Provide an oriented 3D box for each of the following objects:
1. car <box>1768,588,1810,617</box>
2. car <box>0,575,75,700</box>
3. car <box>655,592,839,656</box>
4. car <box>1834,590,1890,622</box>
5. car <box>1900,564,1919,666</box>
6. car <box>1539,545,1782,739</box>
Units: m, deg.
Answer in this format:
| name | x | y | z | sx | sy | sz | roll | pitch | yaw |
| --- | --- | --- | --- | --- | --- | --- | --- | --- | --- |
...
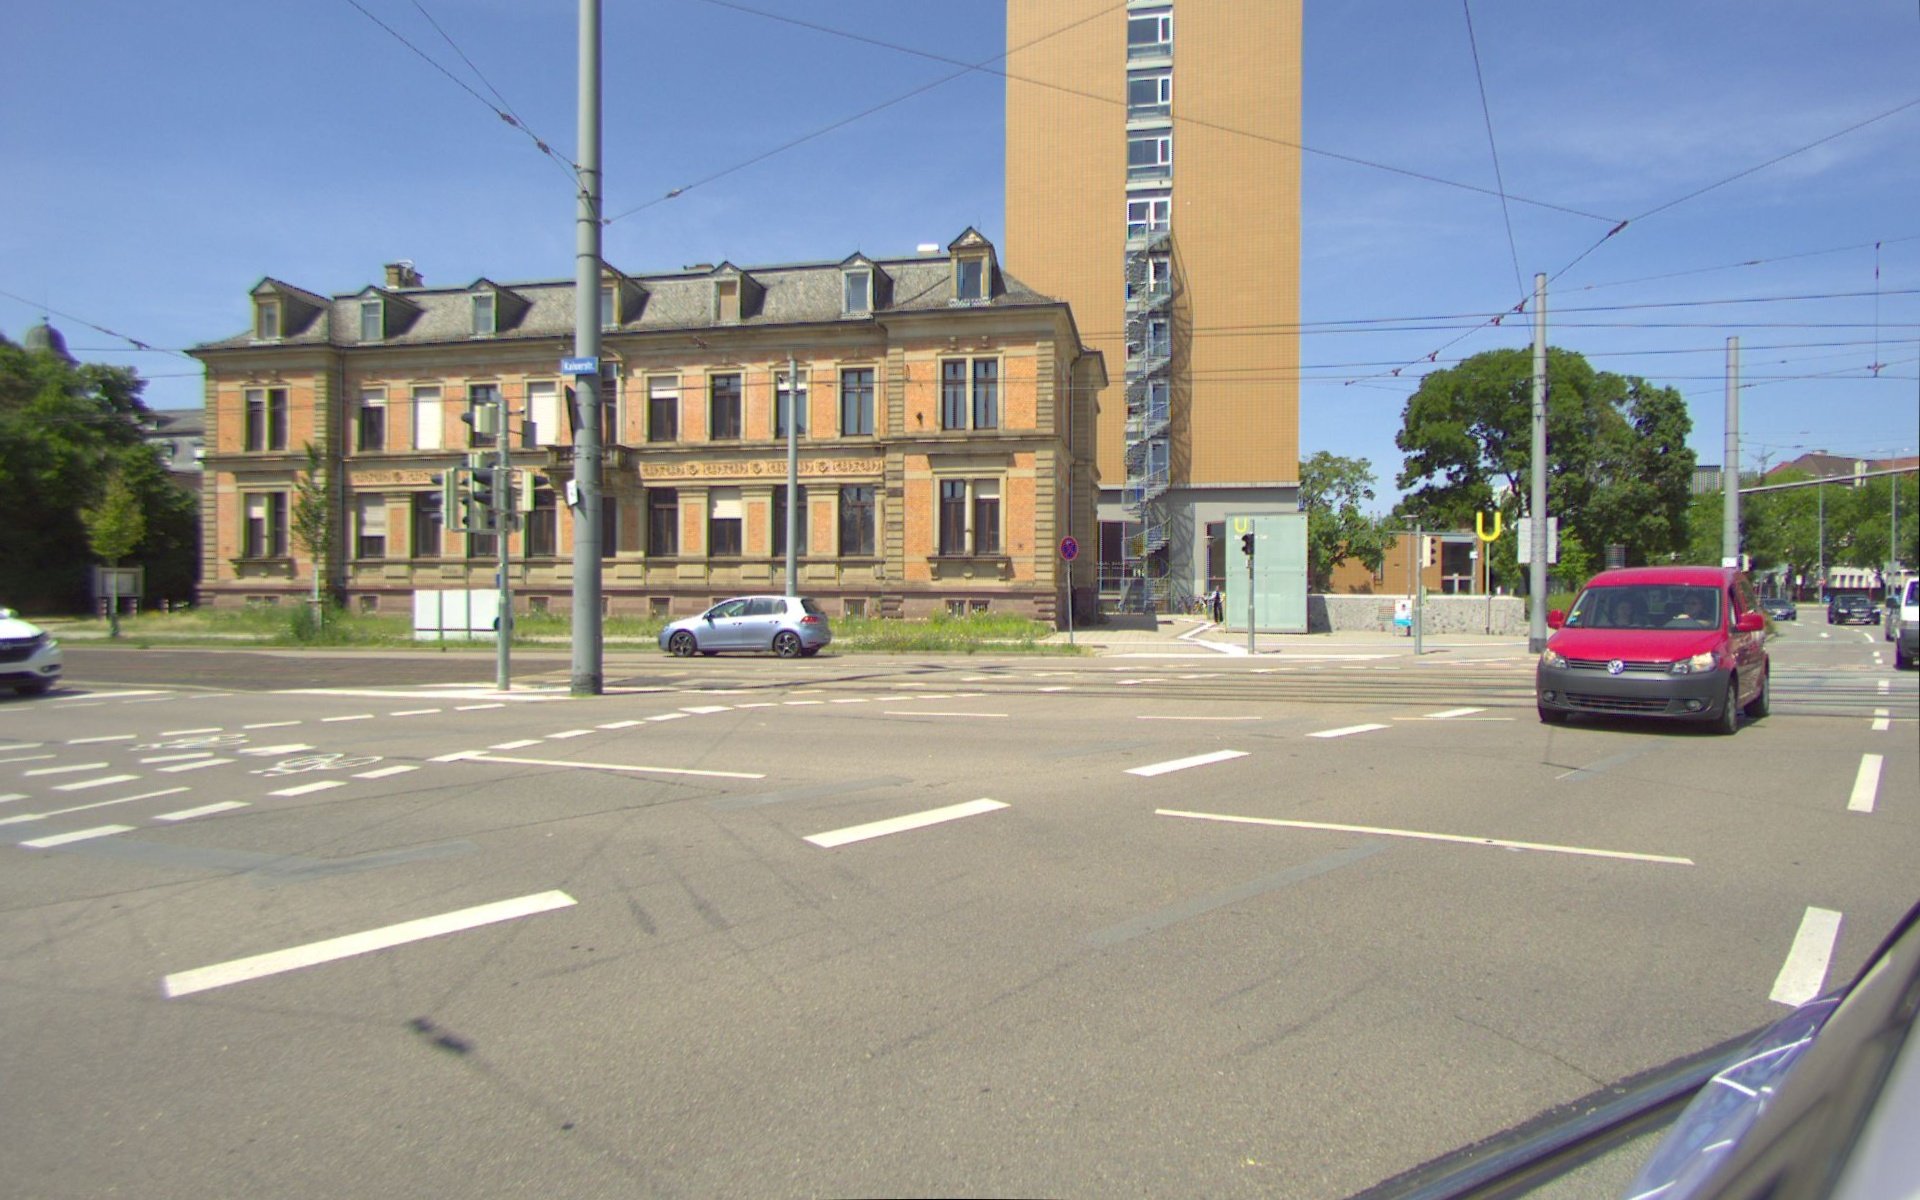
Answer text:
| name | x | y | z | sx | sy | sz | roll | pitch | yaw |
| --- | --- | --- | --- | --- | --- | --- | --- | --- | --- |
| car | 54.746 | 0.150 | 66.905 | 1.989 | 1.864 | 3.947 | 0 | 0 | 37 |
| car | -14.414 | 0.480 | 13.800 | 4.120 | 1.625 | 1.698 | 0 | 1 | 18 |
| car | -4.969 | 0.525 | 23.838 | 3.933 | 1.438 | 1.614 | 0 | 0 | 8 |
| car | 50.465 | 0.313 | 56.667 | 1.989 | 1.746 | 3.947 | 0 | 1 | 37 |
| car | 20.568 | 0.272 | 20.681 | 1.868 | 1.990 | 3.767 | 0 | 1 | 41 |
| car | 8.183 | 0.375 | 11.672 | 1.751 | 1.835 | 4.033 | 0 | 0 | 43 |
